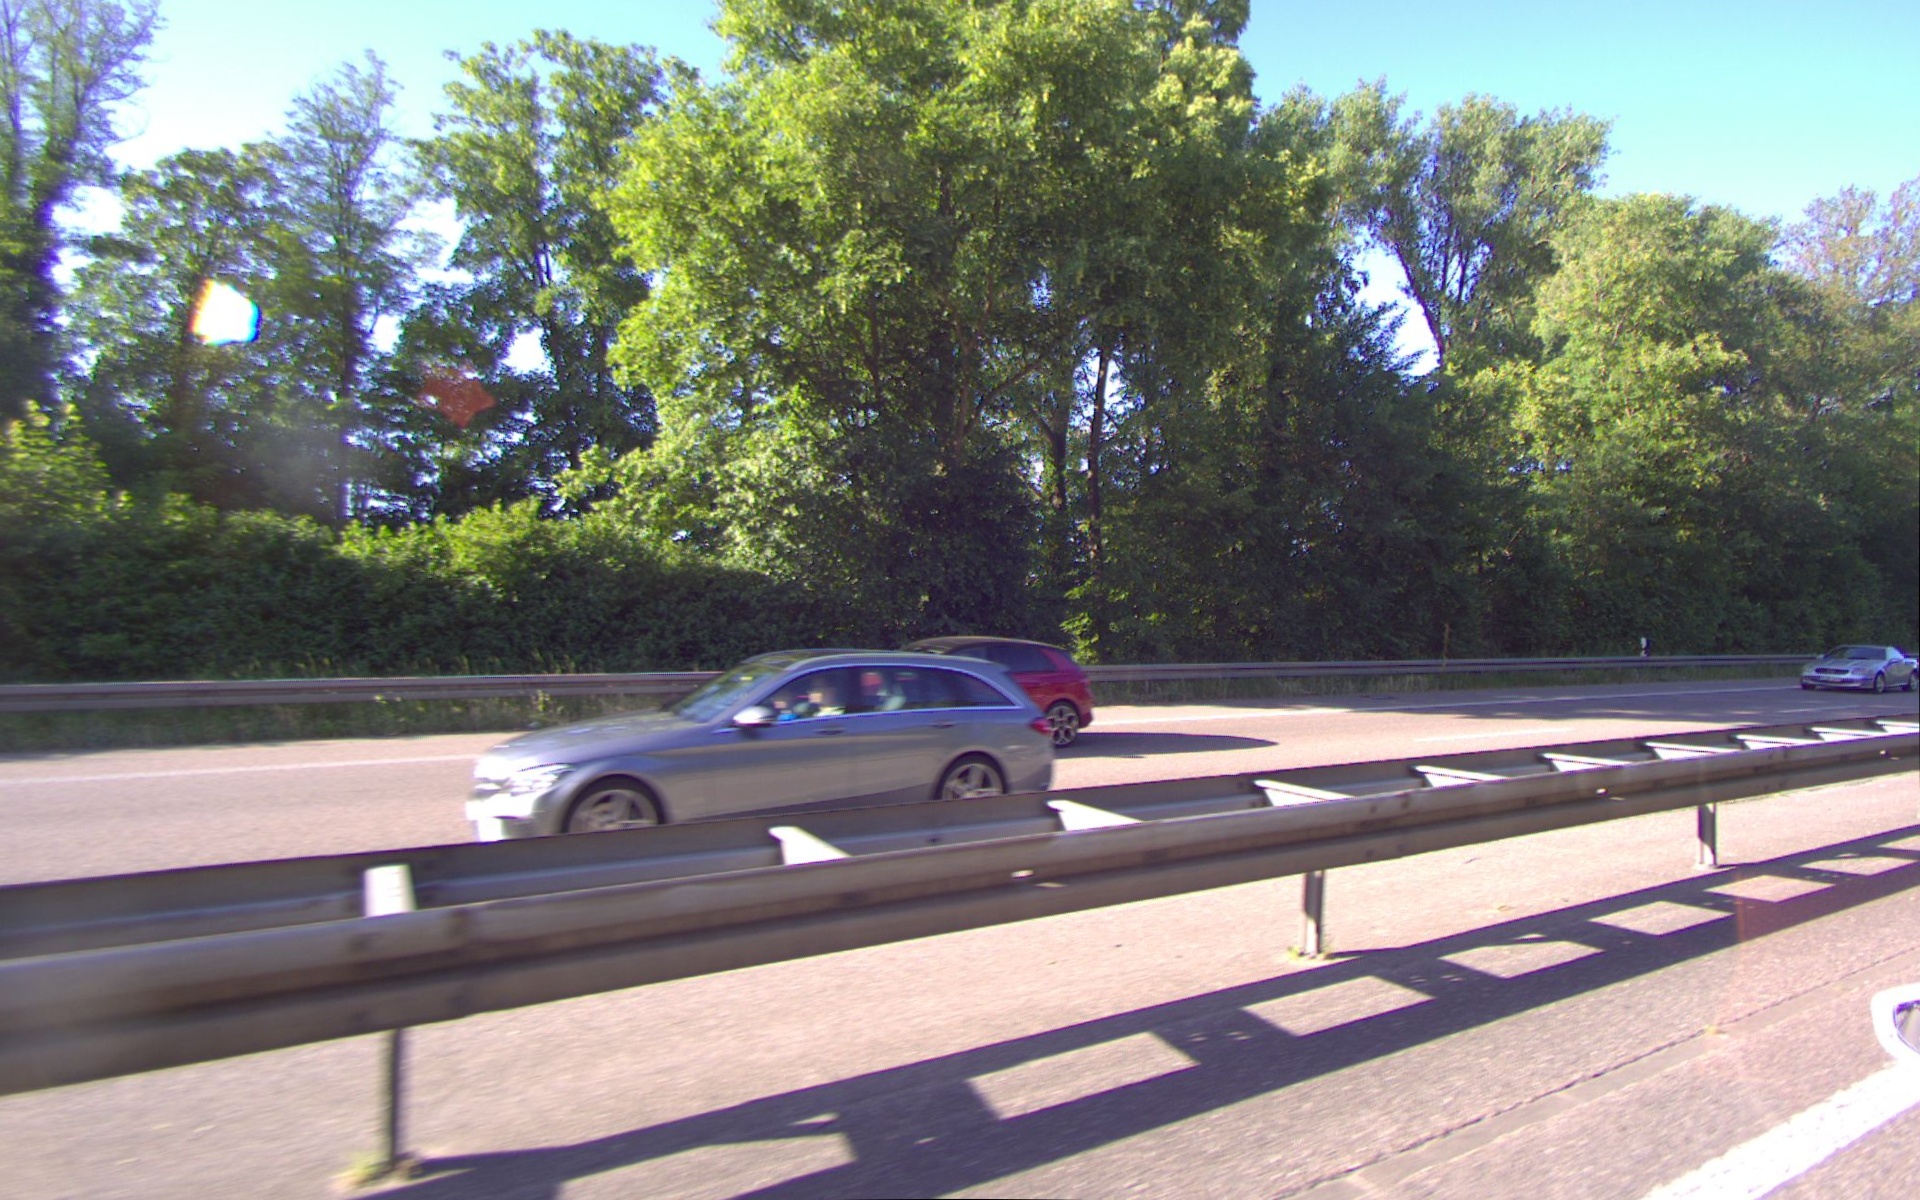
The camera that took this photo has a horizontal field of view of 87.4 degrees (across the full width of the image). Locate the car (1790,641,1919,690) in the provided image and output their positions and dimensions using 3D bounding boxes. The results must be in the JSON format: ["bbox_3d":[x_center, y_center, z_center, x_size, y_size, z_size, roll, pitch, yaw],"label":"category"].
[{"bbox_3d":[25.488,1.824,28.524,4.212,1.239,1.637,1,-1,-30],"label":"car"}]

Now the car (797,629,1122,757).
[{"bbox_3d":[0.041,1.176,13.658,4.088,1.445,1.739,2,0,-30],"label":"car"}]

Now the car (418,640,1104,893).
[{"bbox_3d":[-1.418,1.105,8.102,5.144,1.445,1.739,2,0,-30],"label":"car"}]
